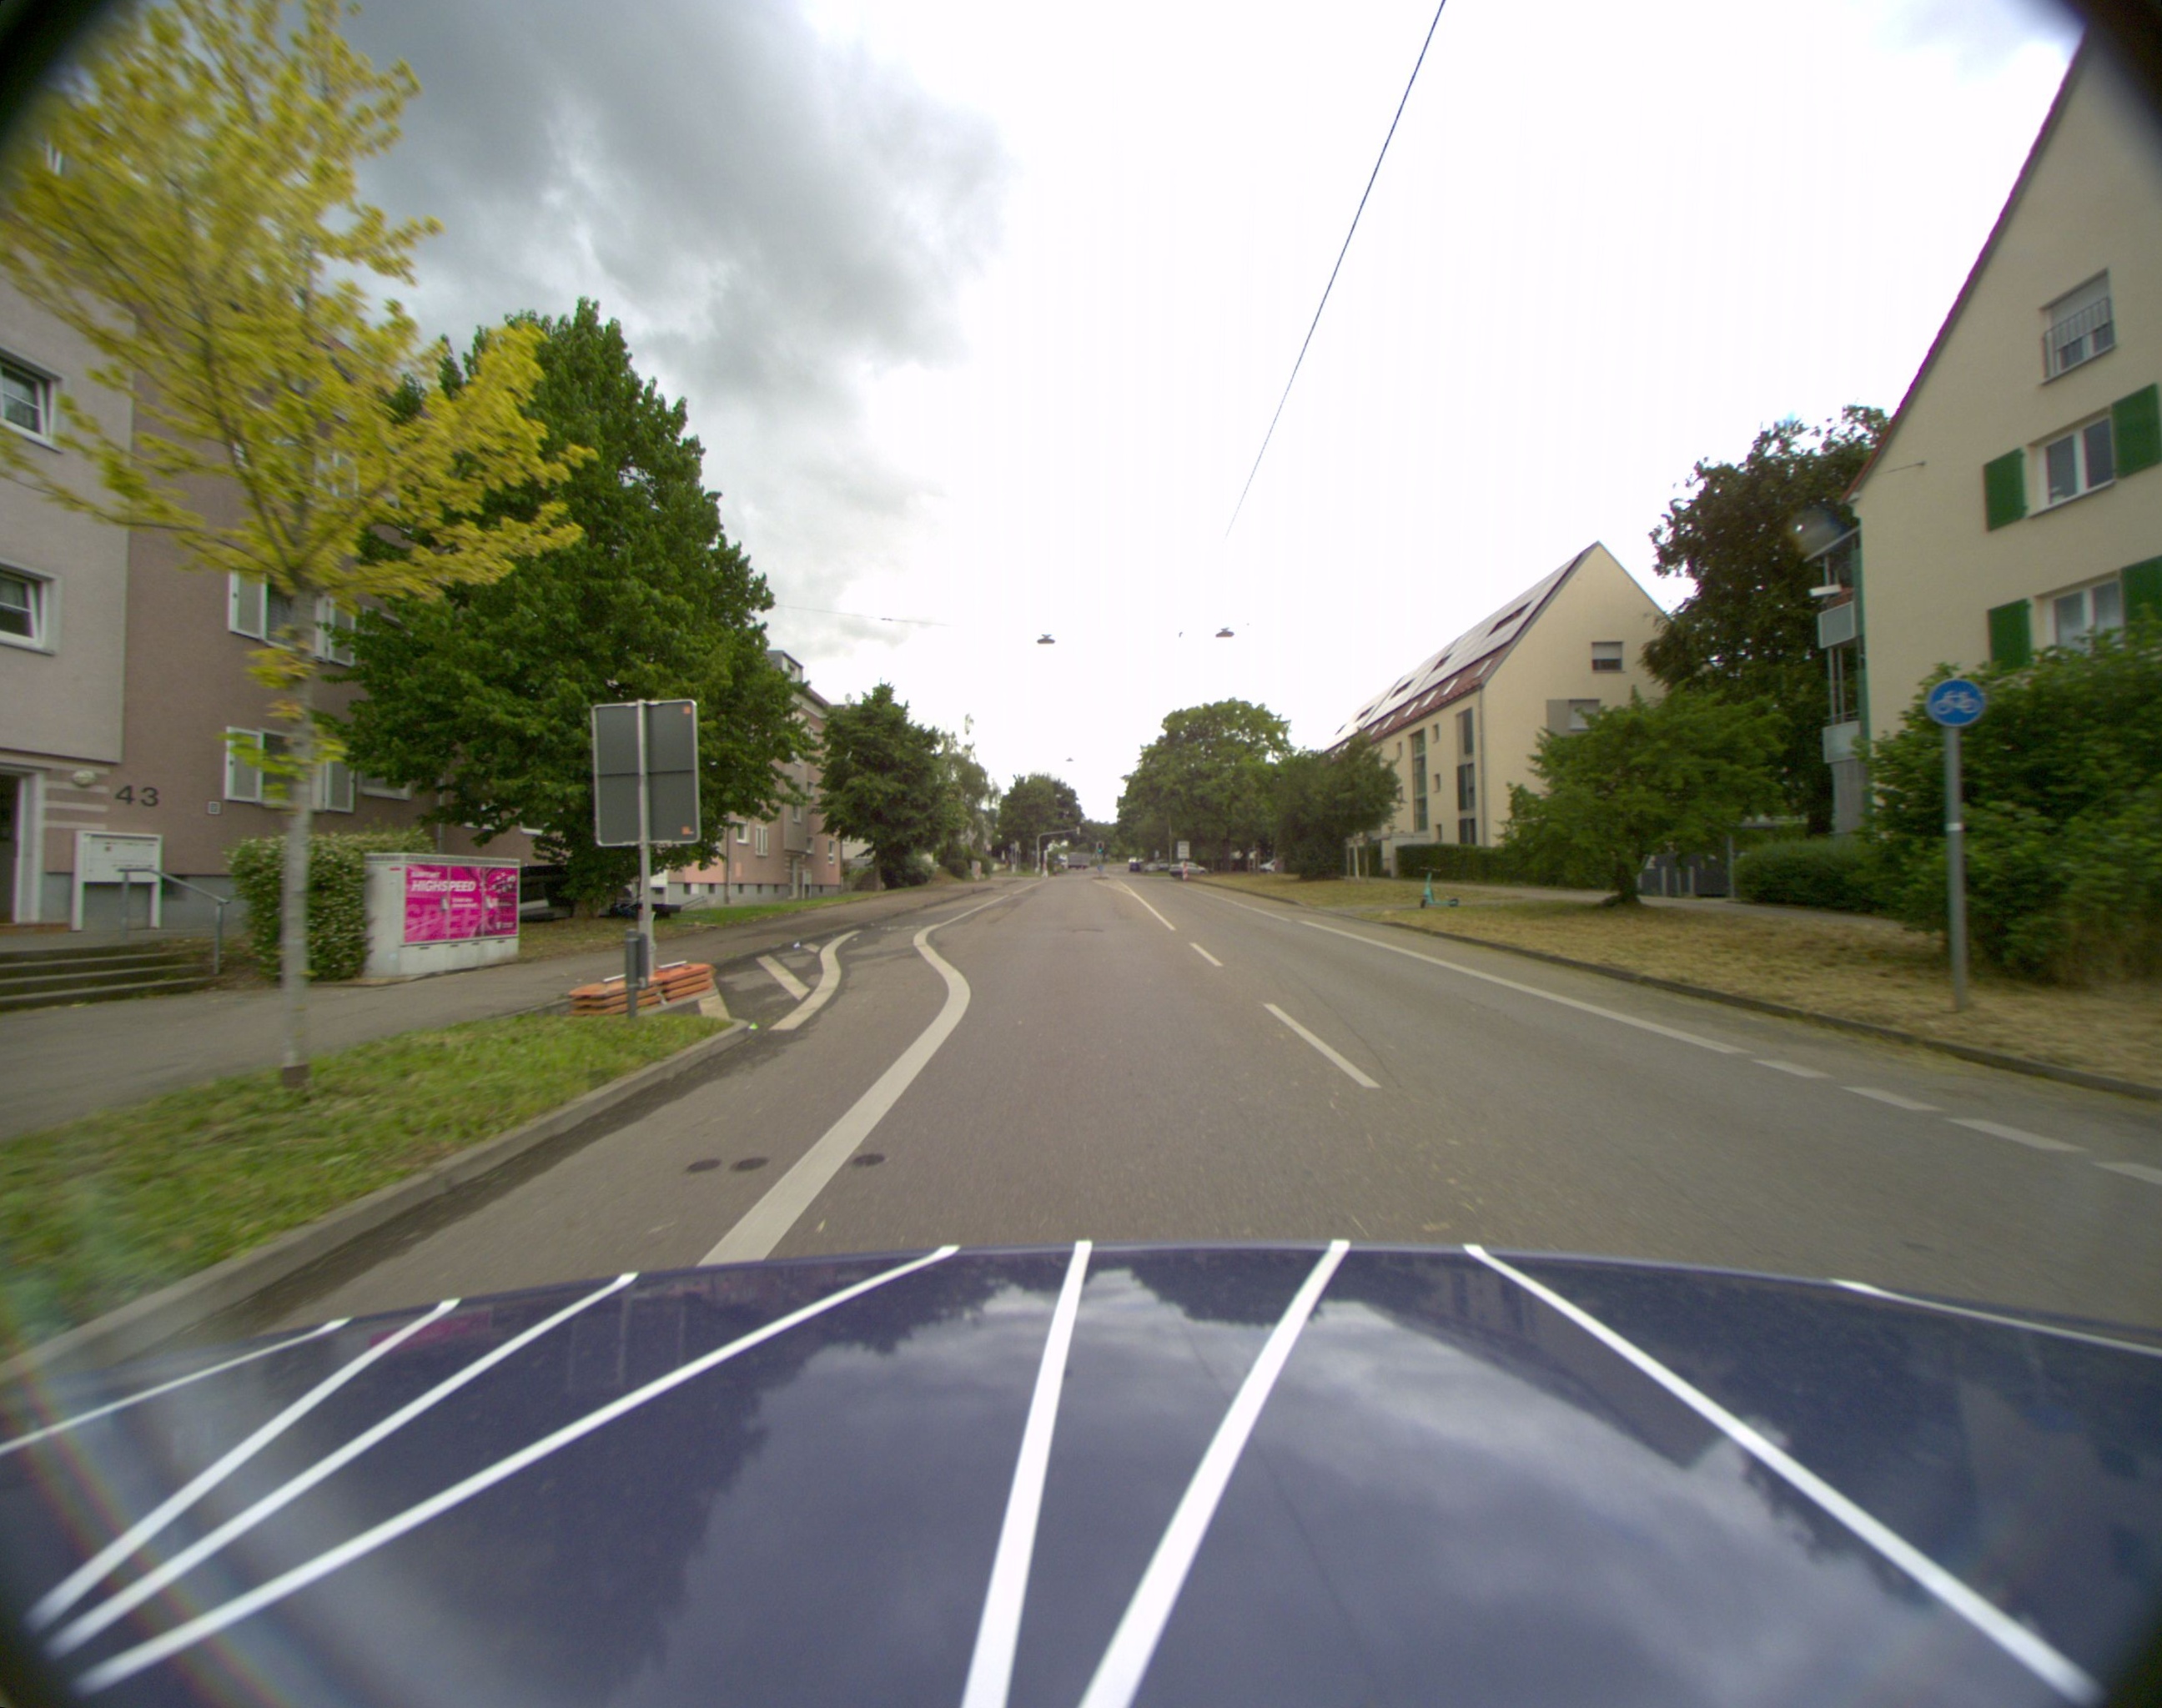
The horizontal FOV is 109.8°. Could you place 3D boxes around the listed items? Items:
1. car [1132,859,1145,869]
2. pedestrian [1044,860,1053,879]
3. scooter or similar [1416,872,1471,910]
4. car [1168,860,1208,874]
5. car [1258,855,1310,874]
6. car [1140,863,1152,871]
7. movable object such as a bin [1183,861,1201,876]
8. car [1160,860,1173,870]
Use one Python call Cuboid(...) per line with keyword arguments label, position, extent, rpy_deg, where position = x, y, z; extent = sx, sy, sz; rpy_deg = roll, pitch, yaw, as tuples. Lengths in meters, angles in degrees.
Cuboid(label="car", position=(10.293, 1.787, 135.823), extent=(1.997, 1.674, 4.002), rpy_deg=(-1, 0, 6))
Cuboid(label="pedestrian", position=(-2.901, 1.395, 67.557), extent=(0.658, 1.674, 0.575), rpy_deg=(1, -2, 2))
Cuboid(label="scooter or similar", position=(10.557, 1.060, 22.148), extent=(1.374, 1.080, 0.466), rpy_deg=(0, 0, -3))
Cuboid(label="car", position=(10.924, 1.321, 77.666), extent=(4.038, 1.455, 1.802), rpy_deg=(1, 0, -40))
Cuboid(label="car", position=(22.251, 1.142, 83.357), extent=(5.152, 1.906, 2.000), rpy_deg=(-1, 0, 1))
Cuboid(label="car", position=(10.690, 2.145, 125.155), extent=(1.604, 1.346, 4.001), rpy_deg=(-1, 0, 2))
Cuboid(label="movable object such as a bin", position=(14.290, 1.909, 98.243), extent=(1.099, 1.892, 3.247), rpy_deg=(-1, 0, -14))
Cuboid(label="car", position=(14.086, 1.814, 125.356), extent=(1.860, 1.596, 4.001), rpy_deg=(-2, 0, 2))
